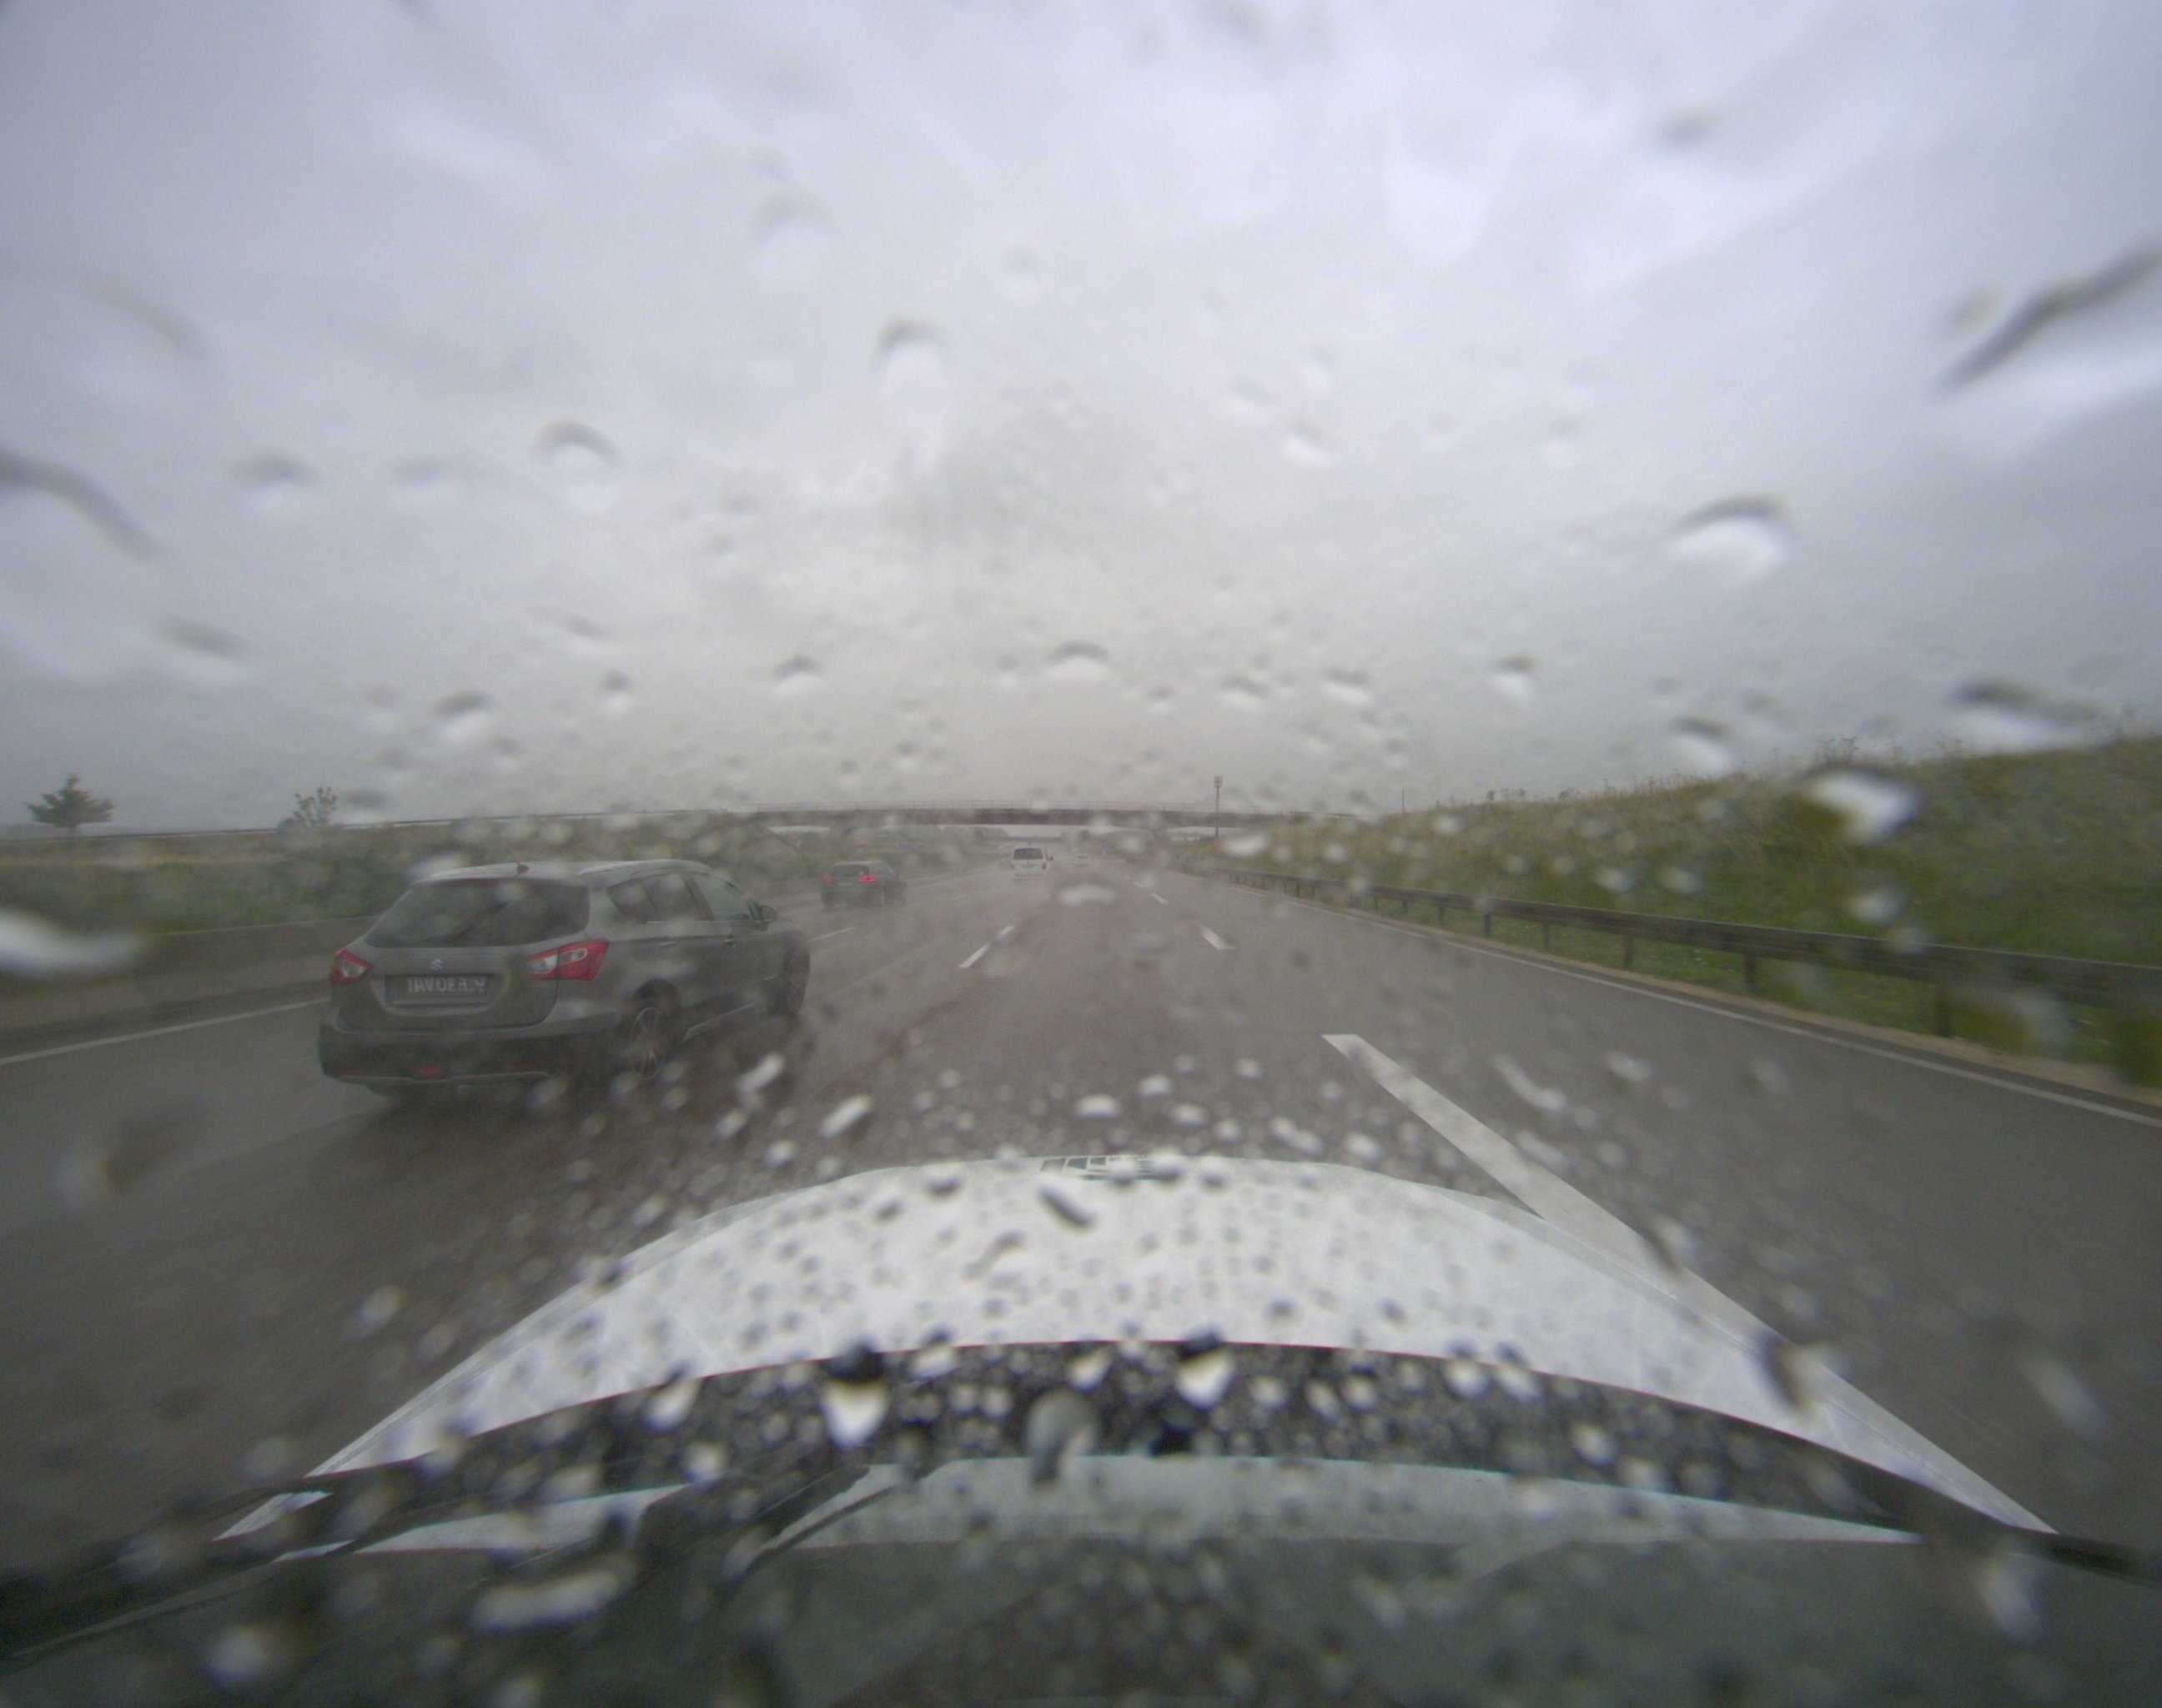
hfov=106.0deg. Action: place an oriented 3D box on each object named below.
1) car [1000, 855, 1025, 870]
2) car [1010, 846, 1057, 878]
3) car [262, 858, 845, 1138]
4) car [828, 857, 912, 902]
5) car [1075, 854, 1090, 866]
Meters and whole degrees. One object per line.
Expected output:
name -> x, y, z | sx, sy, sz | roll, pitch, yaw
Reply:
car -> -5.844, 0.730, 69.594 | 1.460, 1.257, 3.345 | -1, 0, 6
car -> -2.431, 0.407, 42.322 | 1.888, 1.585, 4.005 | 0, 0, 5
car -> -3.623, 0.809, 6.914 | 1.840, 1.513, 4.756 | -1, 0, 0
car -> -6.943, 0.803, 27.219 | 1.606, 1.354, 4.002 | 0, 0, 2
car -> 0.202, 0.613, 82.764 | 1.463, 1.208, 2.991 | -1, 0, 1
